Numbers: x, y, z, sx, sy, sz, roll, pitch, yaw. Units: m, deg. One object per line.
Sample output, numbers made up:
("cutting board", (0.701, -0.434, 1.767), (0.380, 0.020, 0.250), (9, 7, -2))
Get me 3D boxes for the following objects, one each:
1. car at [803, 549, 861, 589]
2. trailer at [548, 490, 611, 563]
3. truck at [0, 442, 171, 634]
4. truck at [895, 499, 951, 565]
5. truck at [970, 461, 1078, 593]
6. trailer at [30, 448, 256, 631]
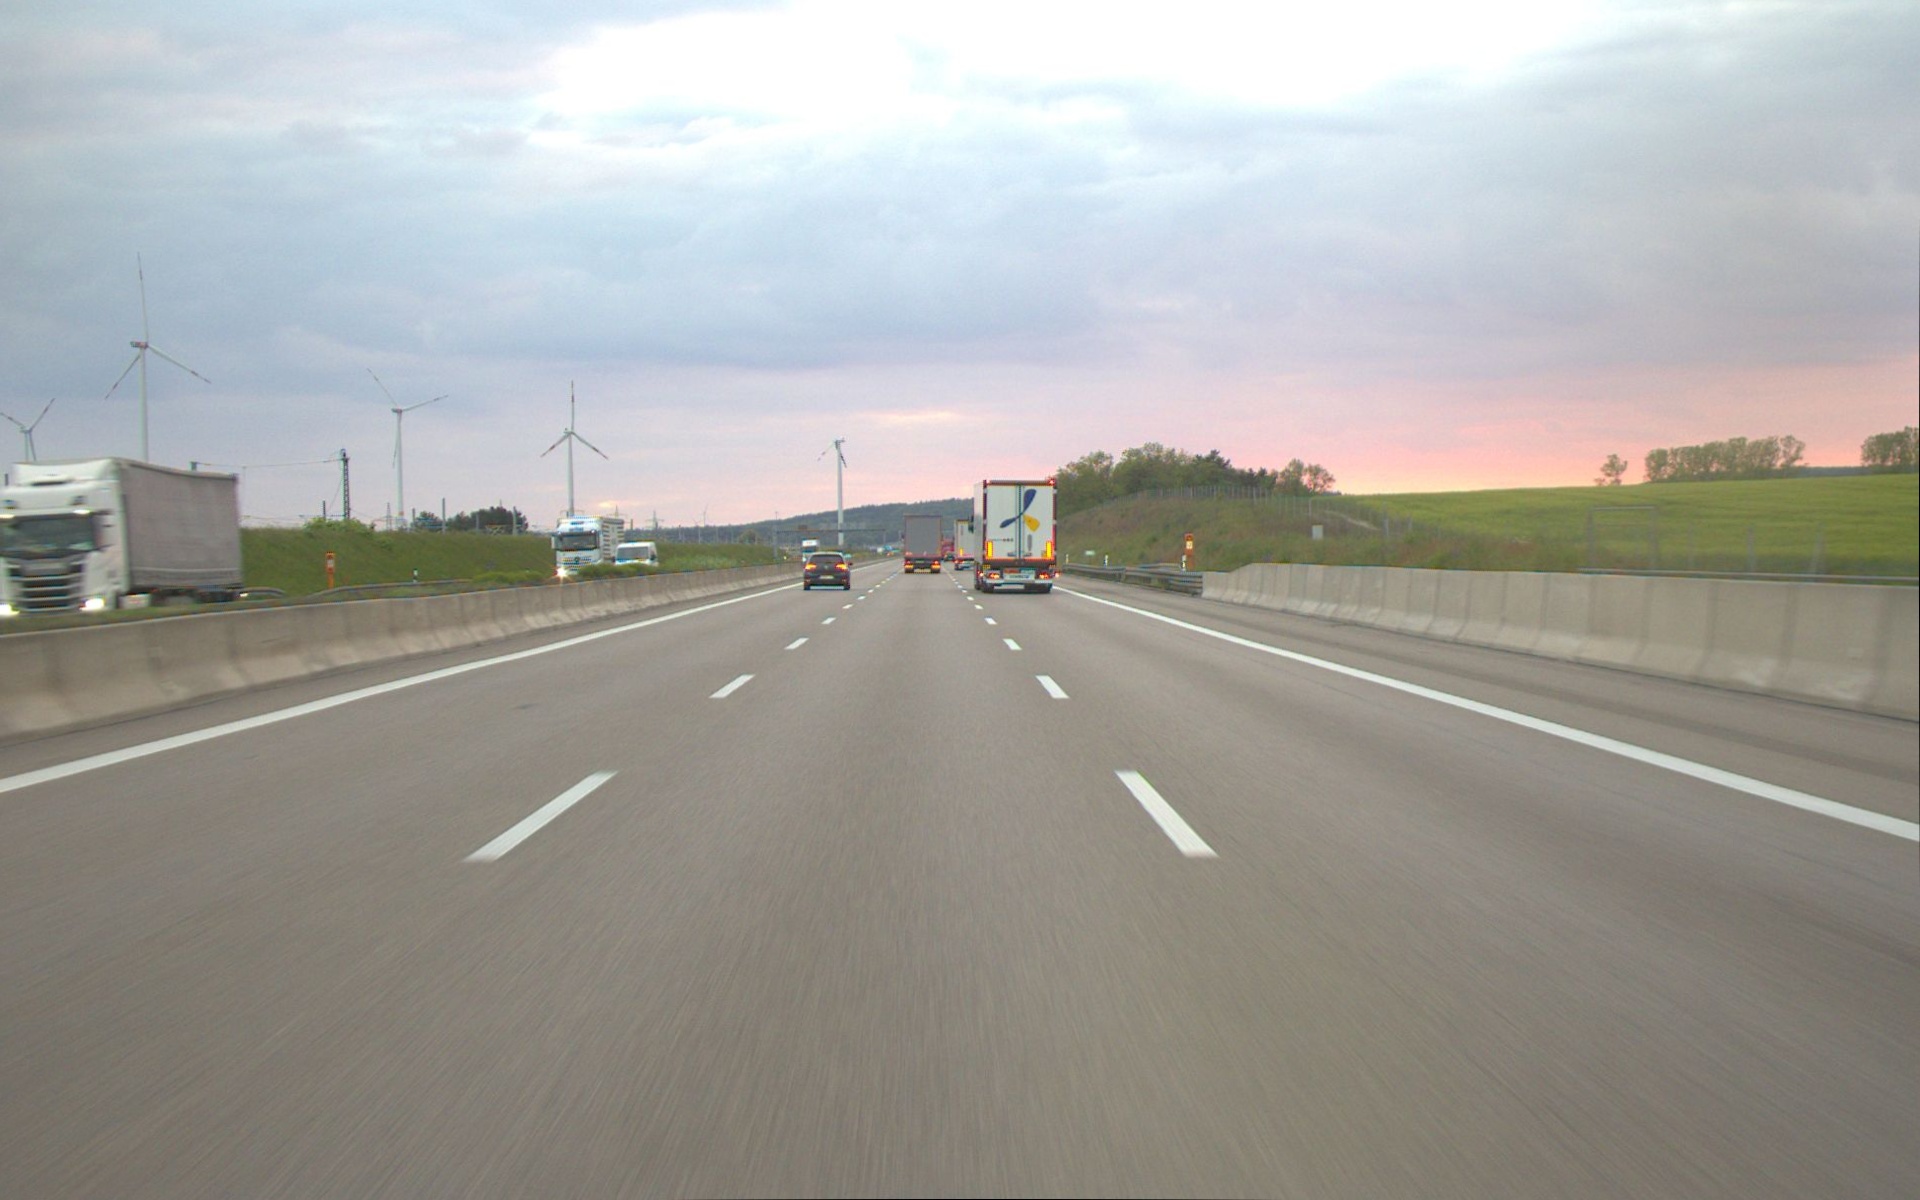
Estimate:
("car", (-4.851, -1.183, 130.708), (1.987, 1.425, 4.000), (-1, 1, 1))
("trailer", (-22.252, -4.292, 201.366), (2.686, 4.100, 6.939), (-3, 1, 0))
("truck", (-20.861, -1.473, 81.436), (2.817, 4.337, 6.739), (1, 1, 0))
("truck", (-2.545, -4.686, 236.494), (3.647, 4.399, 8.636), (-1, 1, -1))
("truck", (2.243, -2.657, 125.513), (3.675, 4.549, 10.981), (-1, 1, 0))
("trailer", (-20.870, -1.587, 88.704), (2.817, 4.337, 12.839), (1, 1, 0))
